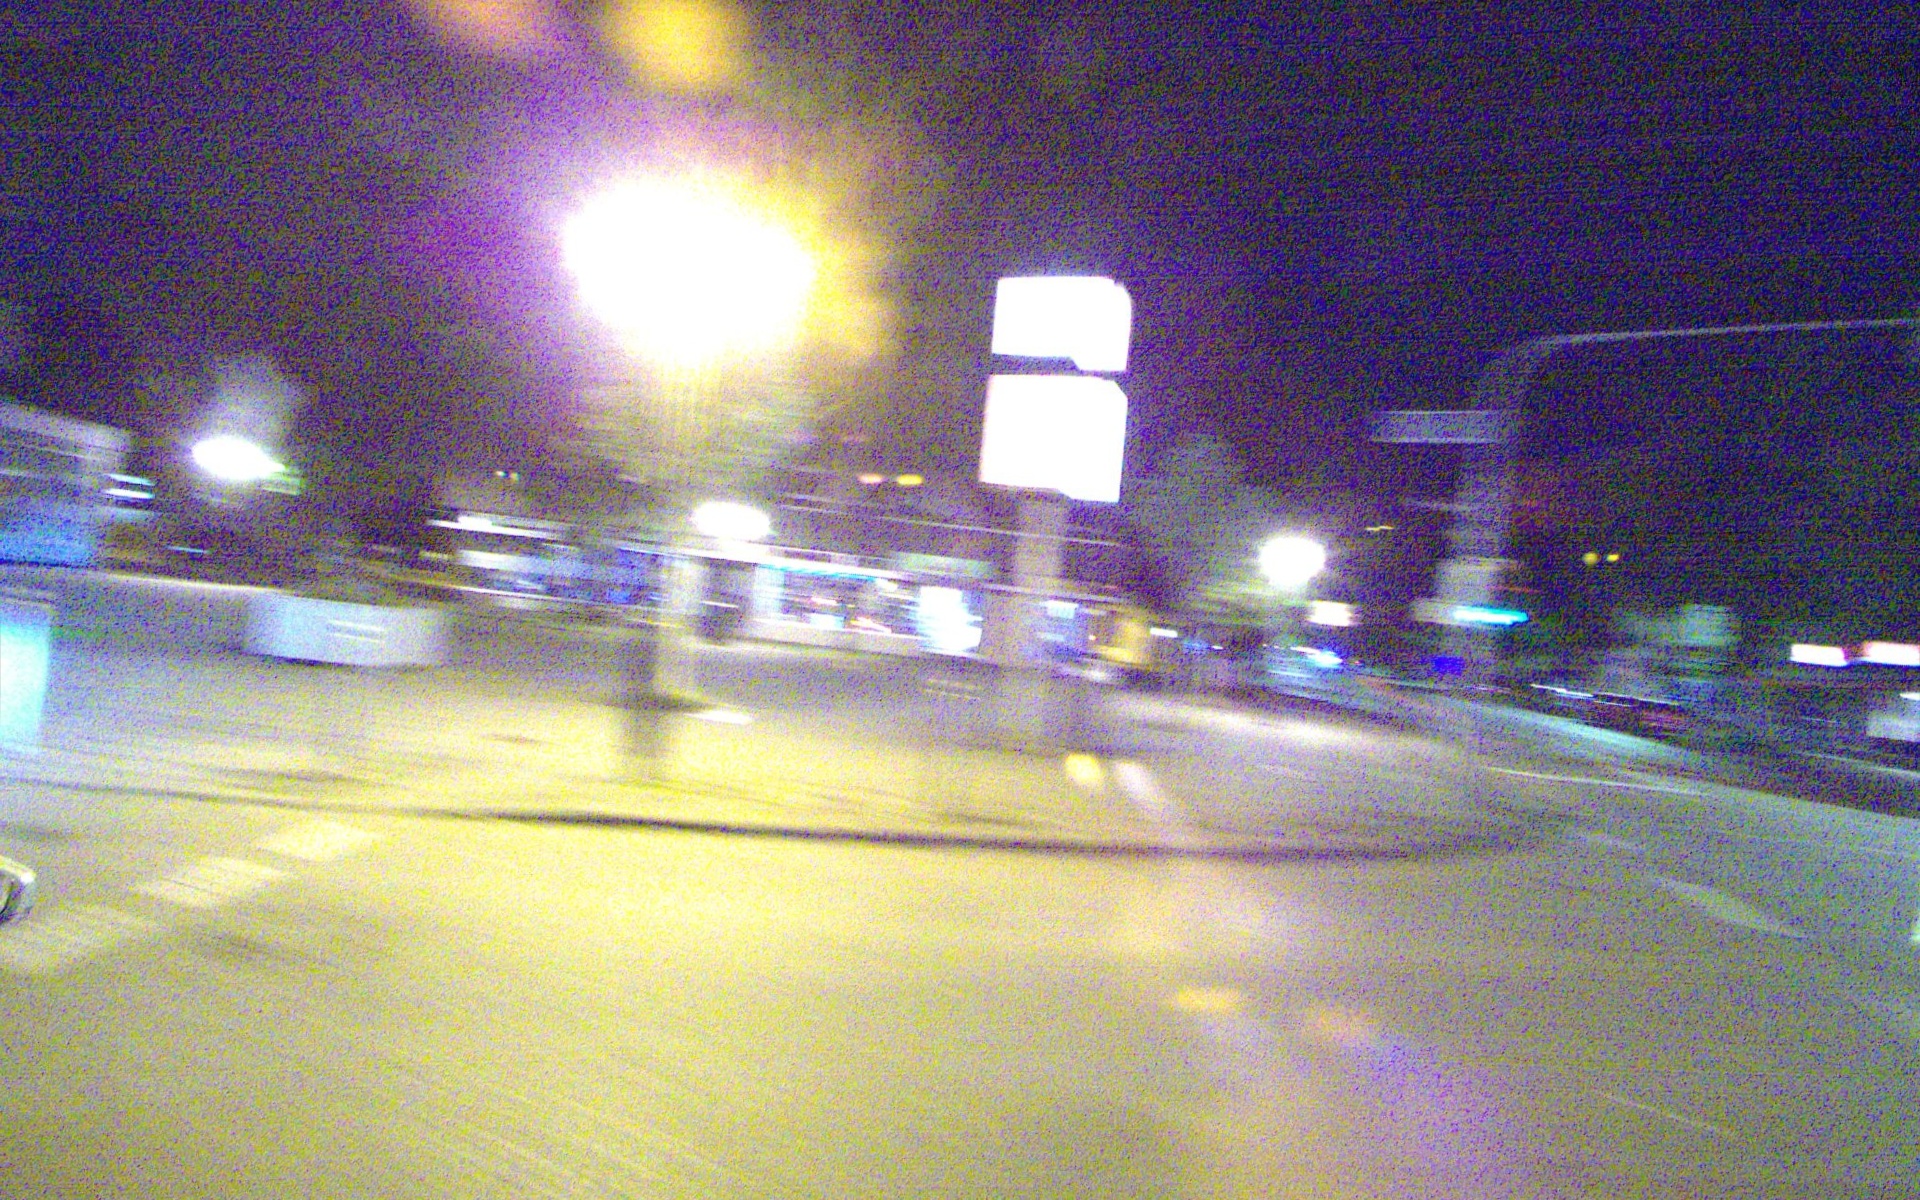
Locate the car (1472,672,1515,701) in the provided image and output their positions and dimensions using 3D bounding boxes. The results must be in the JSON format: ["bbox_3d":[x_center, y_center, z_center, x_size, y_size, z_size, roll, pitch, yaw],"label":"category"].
[{"bbox_3d":[36.139,5.823,68.193,1.976,1.645,3.894,8,0,22],"label":"car"}]

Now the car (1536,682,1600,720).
[{"bbox_3d":[30.545,5.032,50.670,1.860,1.470,3.896,8,0,20],"label":"car"}]

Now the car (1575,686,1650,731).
[{"bbox_3d":[28.234,4.660,43.633,1.860,1.470,3.894,8,0,22],"label":"car"}]

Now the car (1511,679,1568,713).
[{"bbox_3d":[32.014,5.284,55.672,1.860,1.470,3.896,8,0,20],"label":"car"}]

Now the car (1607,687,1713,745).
[{"bbox_3d":[26.835,4.402,38.735,1.839,1.673,3.865,8,0,13],"label":"car"}]

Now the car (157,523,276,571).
[{"bbox_3d":[-29.079,-2.031,39.507,1.891,1.469,3.995,8,0,-6],"label":"car"}]
